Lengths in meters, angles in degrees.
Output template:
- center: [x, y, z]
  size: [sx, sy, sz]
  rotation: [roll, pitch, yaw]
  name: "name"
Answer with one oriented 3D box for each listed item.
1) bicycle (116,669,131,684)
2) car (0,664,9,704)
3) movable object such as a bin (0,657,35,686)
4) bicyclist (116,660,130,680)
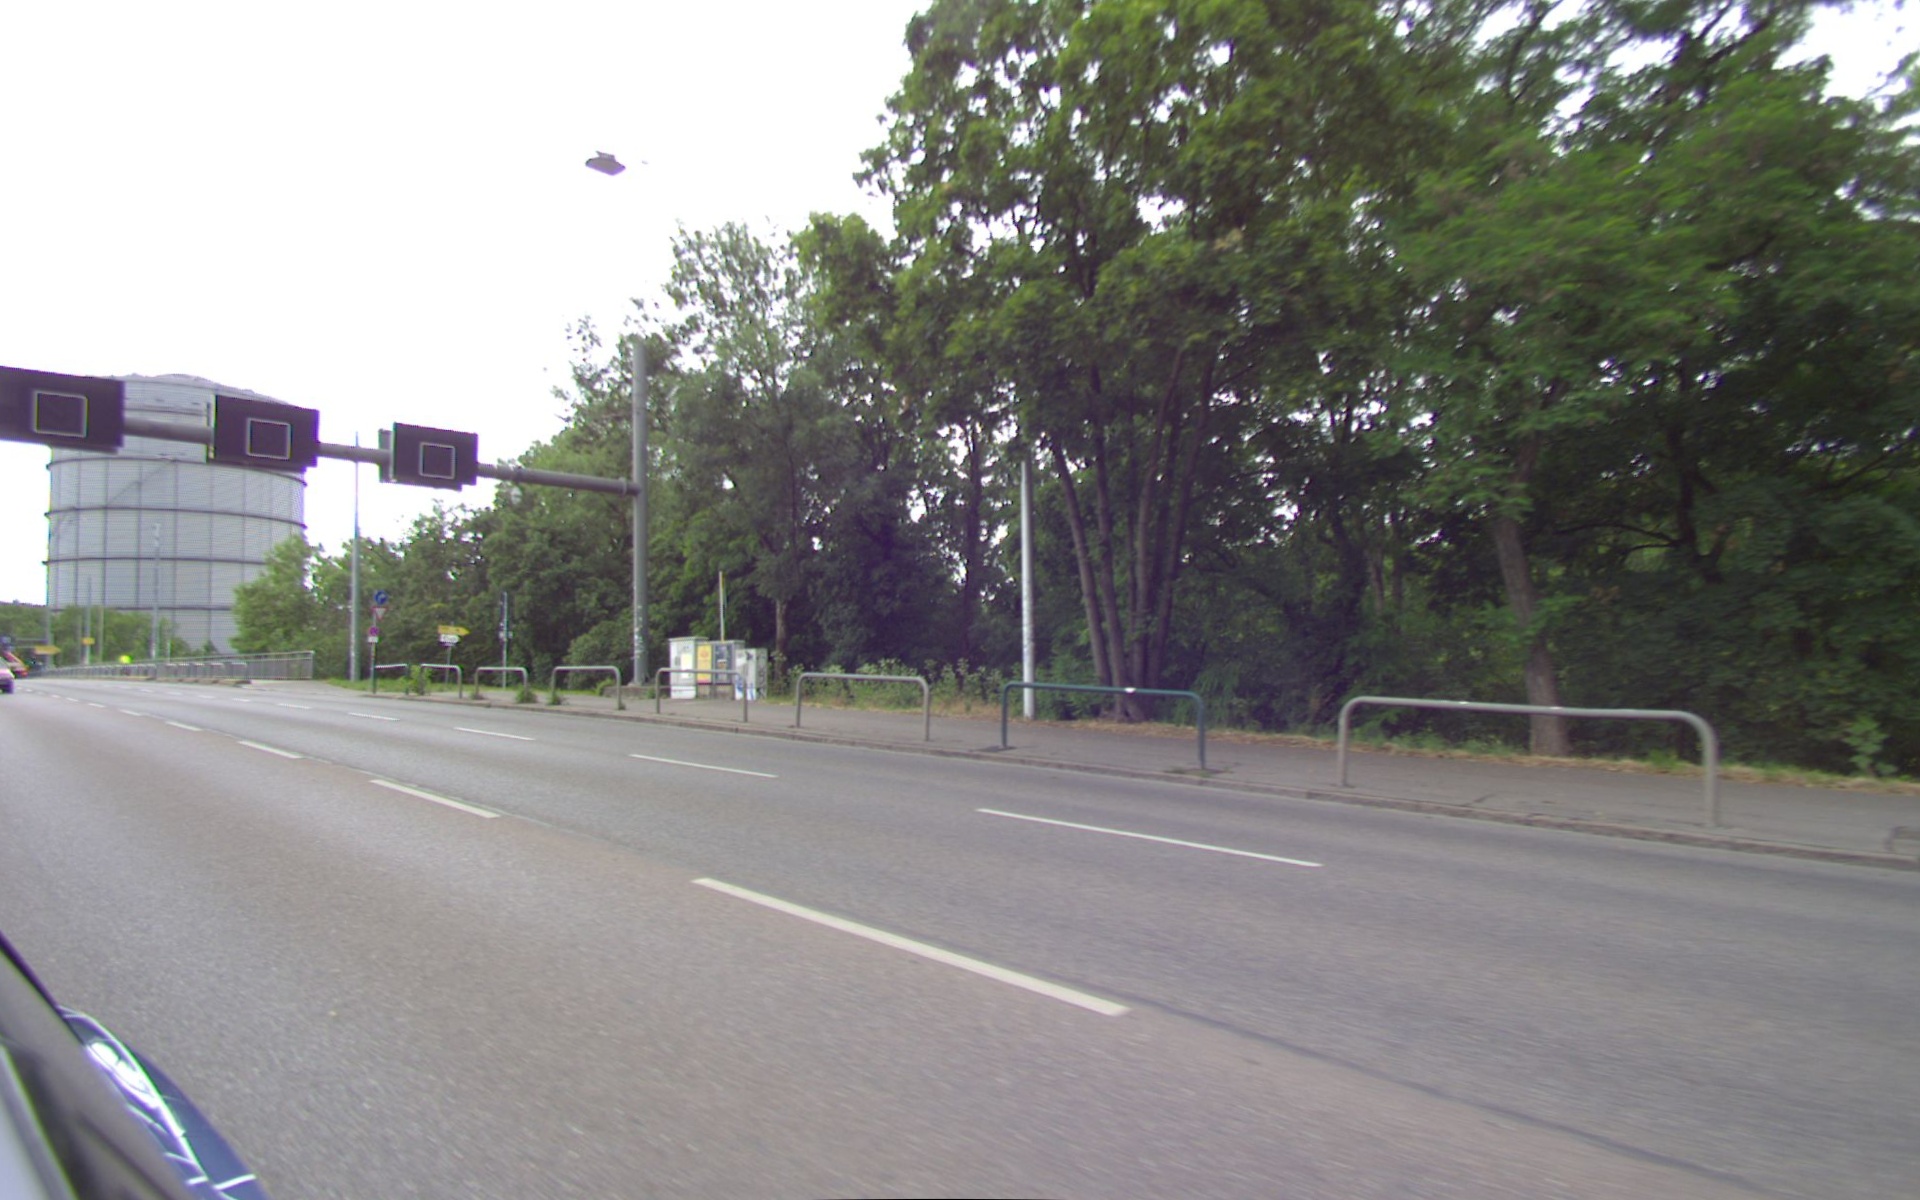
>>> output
- center: [-63.972, 5.851, 77.413]
  size: [0.628, 1.071, 1.984]
  rotation: [-8, 3, -43]
  name: "bicycle"
- center: [-36.768, 3.124, 37.692]
  size: [4.001, 1.454, 1.673]
  rotation: [-4, -6, 44]
  name: "car"
- center: [-113.289, 8.517, 120.926]
  size: [9.361, 3.348, 3.416]
  rotation: [-4, -6, 44]
  name: "movable object such as a bin"
- center: [-63.997, 5.348, 77.351]
  size: [0.619, 1.486, 0.671]
  rotation: [-8, 3, -44]
  name: "bicyclist"
